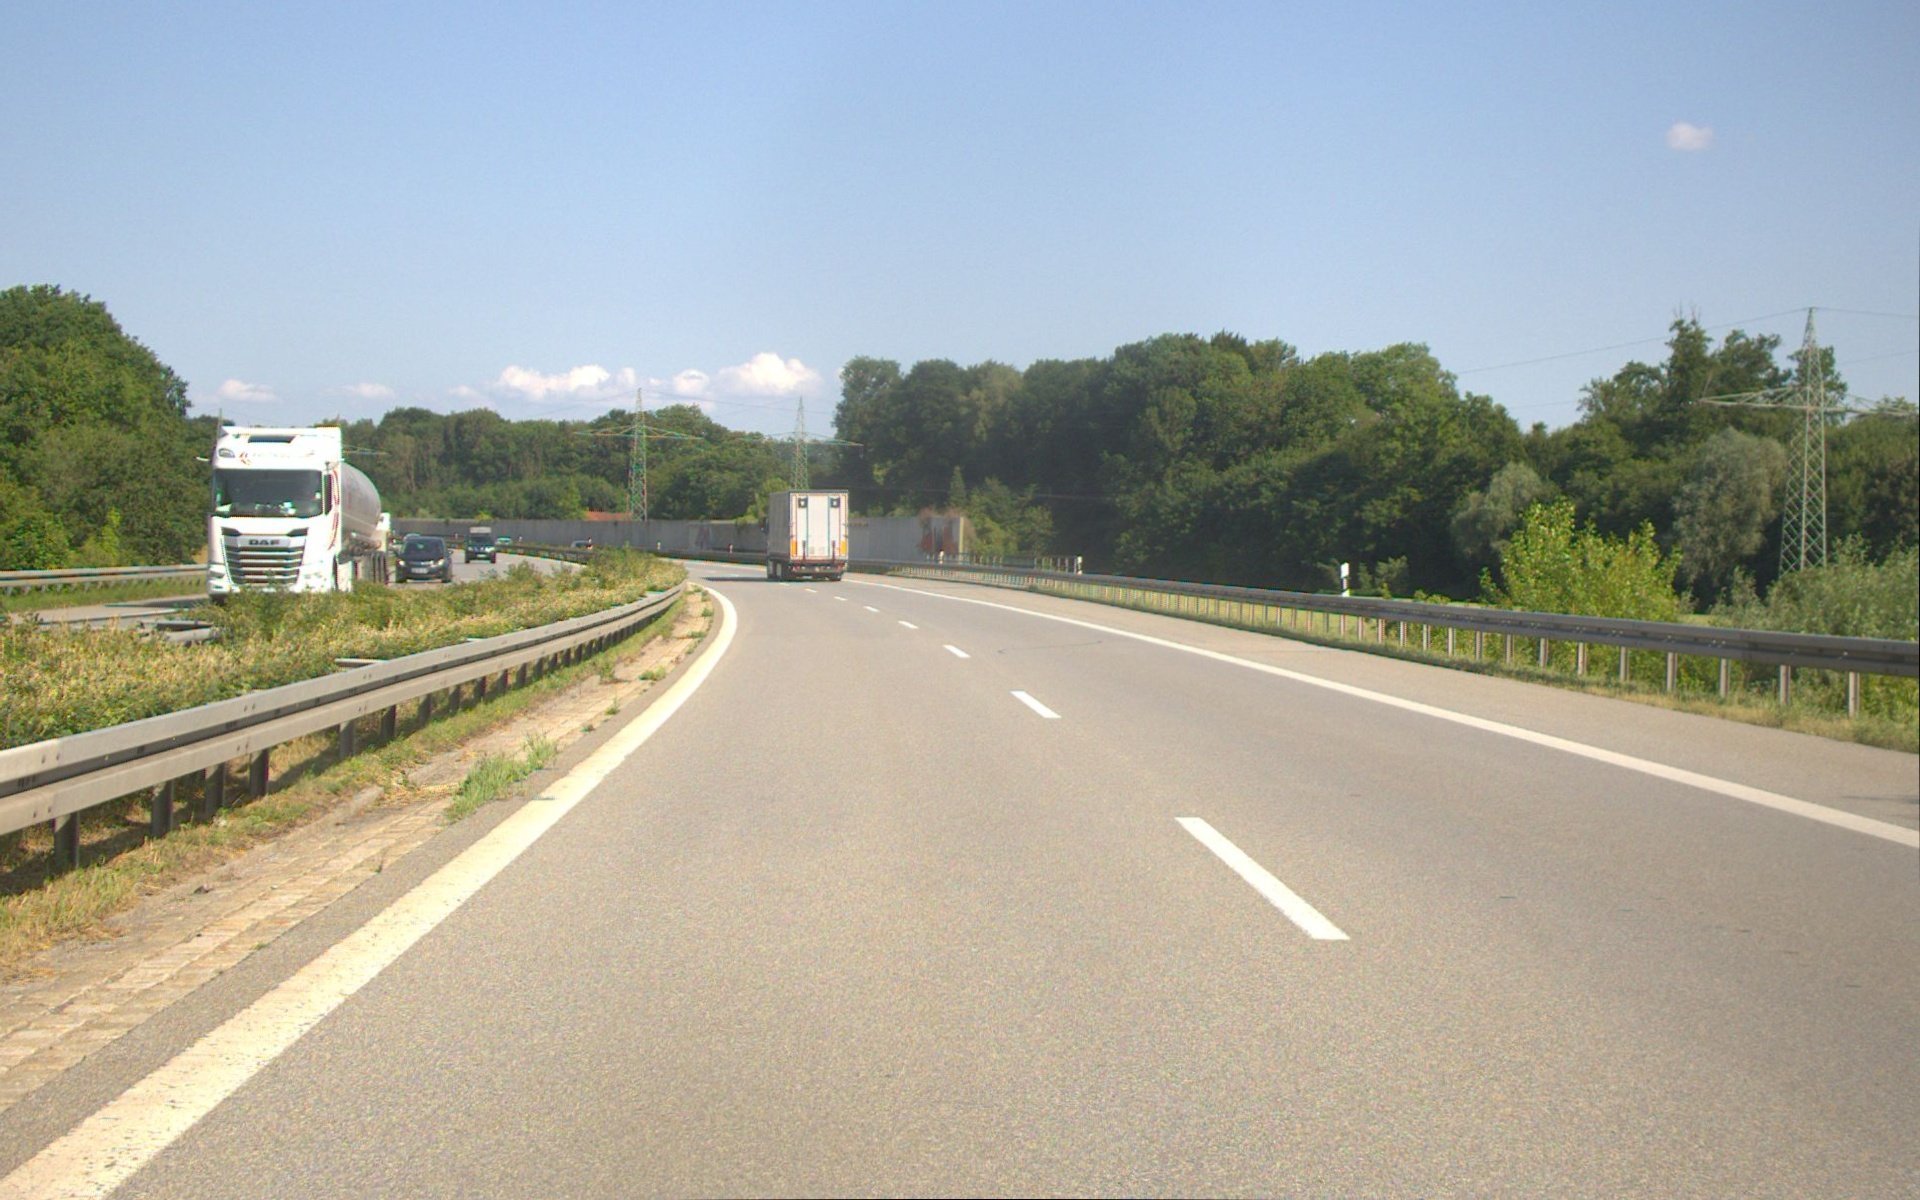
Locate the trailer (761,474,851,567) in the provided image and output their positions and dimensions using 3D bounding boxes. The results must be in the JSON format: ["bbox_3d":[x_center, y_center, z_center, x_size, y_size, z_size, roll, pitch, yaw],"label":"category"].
[{"bbox_3d":[-7.048,-3.592,155.738,2.883,4.052,12.423,0,1,-8],"label":"trailer"}]

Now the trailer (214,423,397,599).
[{"bbox_3d":[-14.720,-1.970,78.073,2.740,3.714,10.915,0,1,-4],"label":"trailer"}]

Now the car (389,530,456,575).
[{"bbox_3d":[-18.988,-1.683,121.511,1.993,1.549,4.420,-1,1,-5],"label":"car"}]

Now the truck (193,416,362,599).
[{"bbox_3d":[-14.374,-1.925,72.797,2.740,3.714,5.973,0,1,-4],"label":"truck"}]

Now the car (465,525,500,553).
[{"bbox_3d":[-29.537,-3.761,212.509,1.993,1.673,5.319,-1,1,-9],"label":"car"}]
